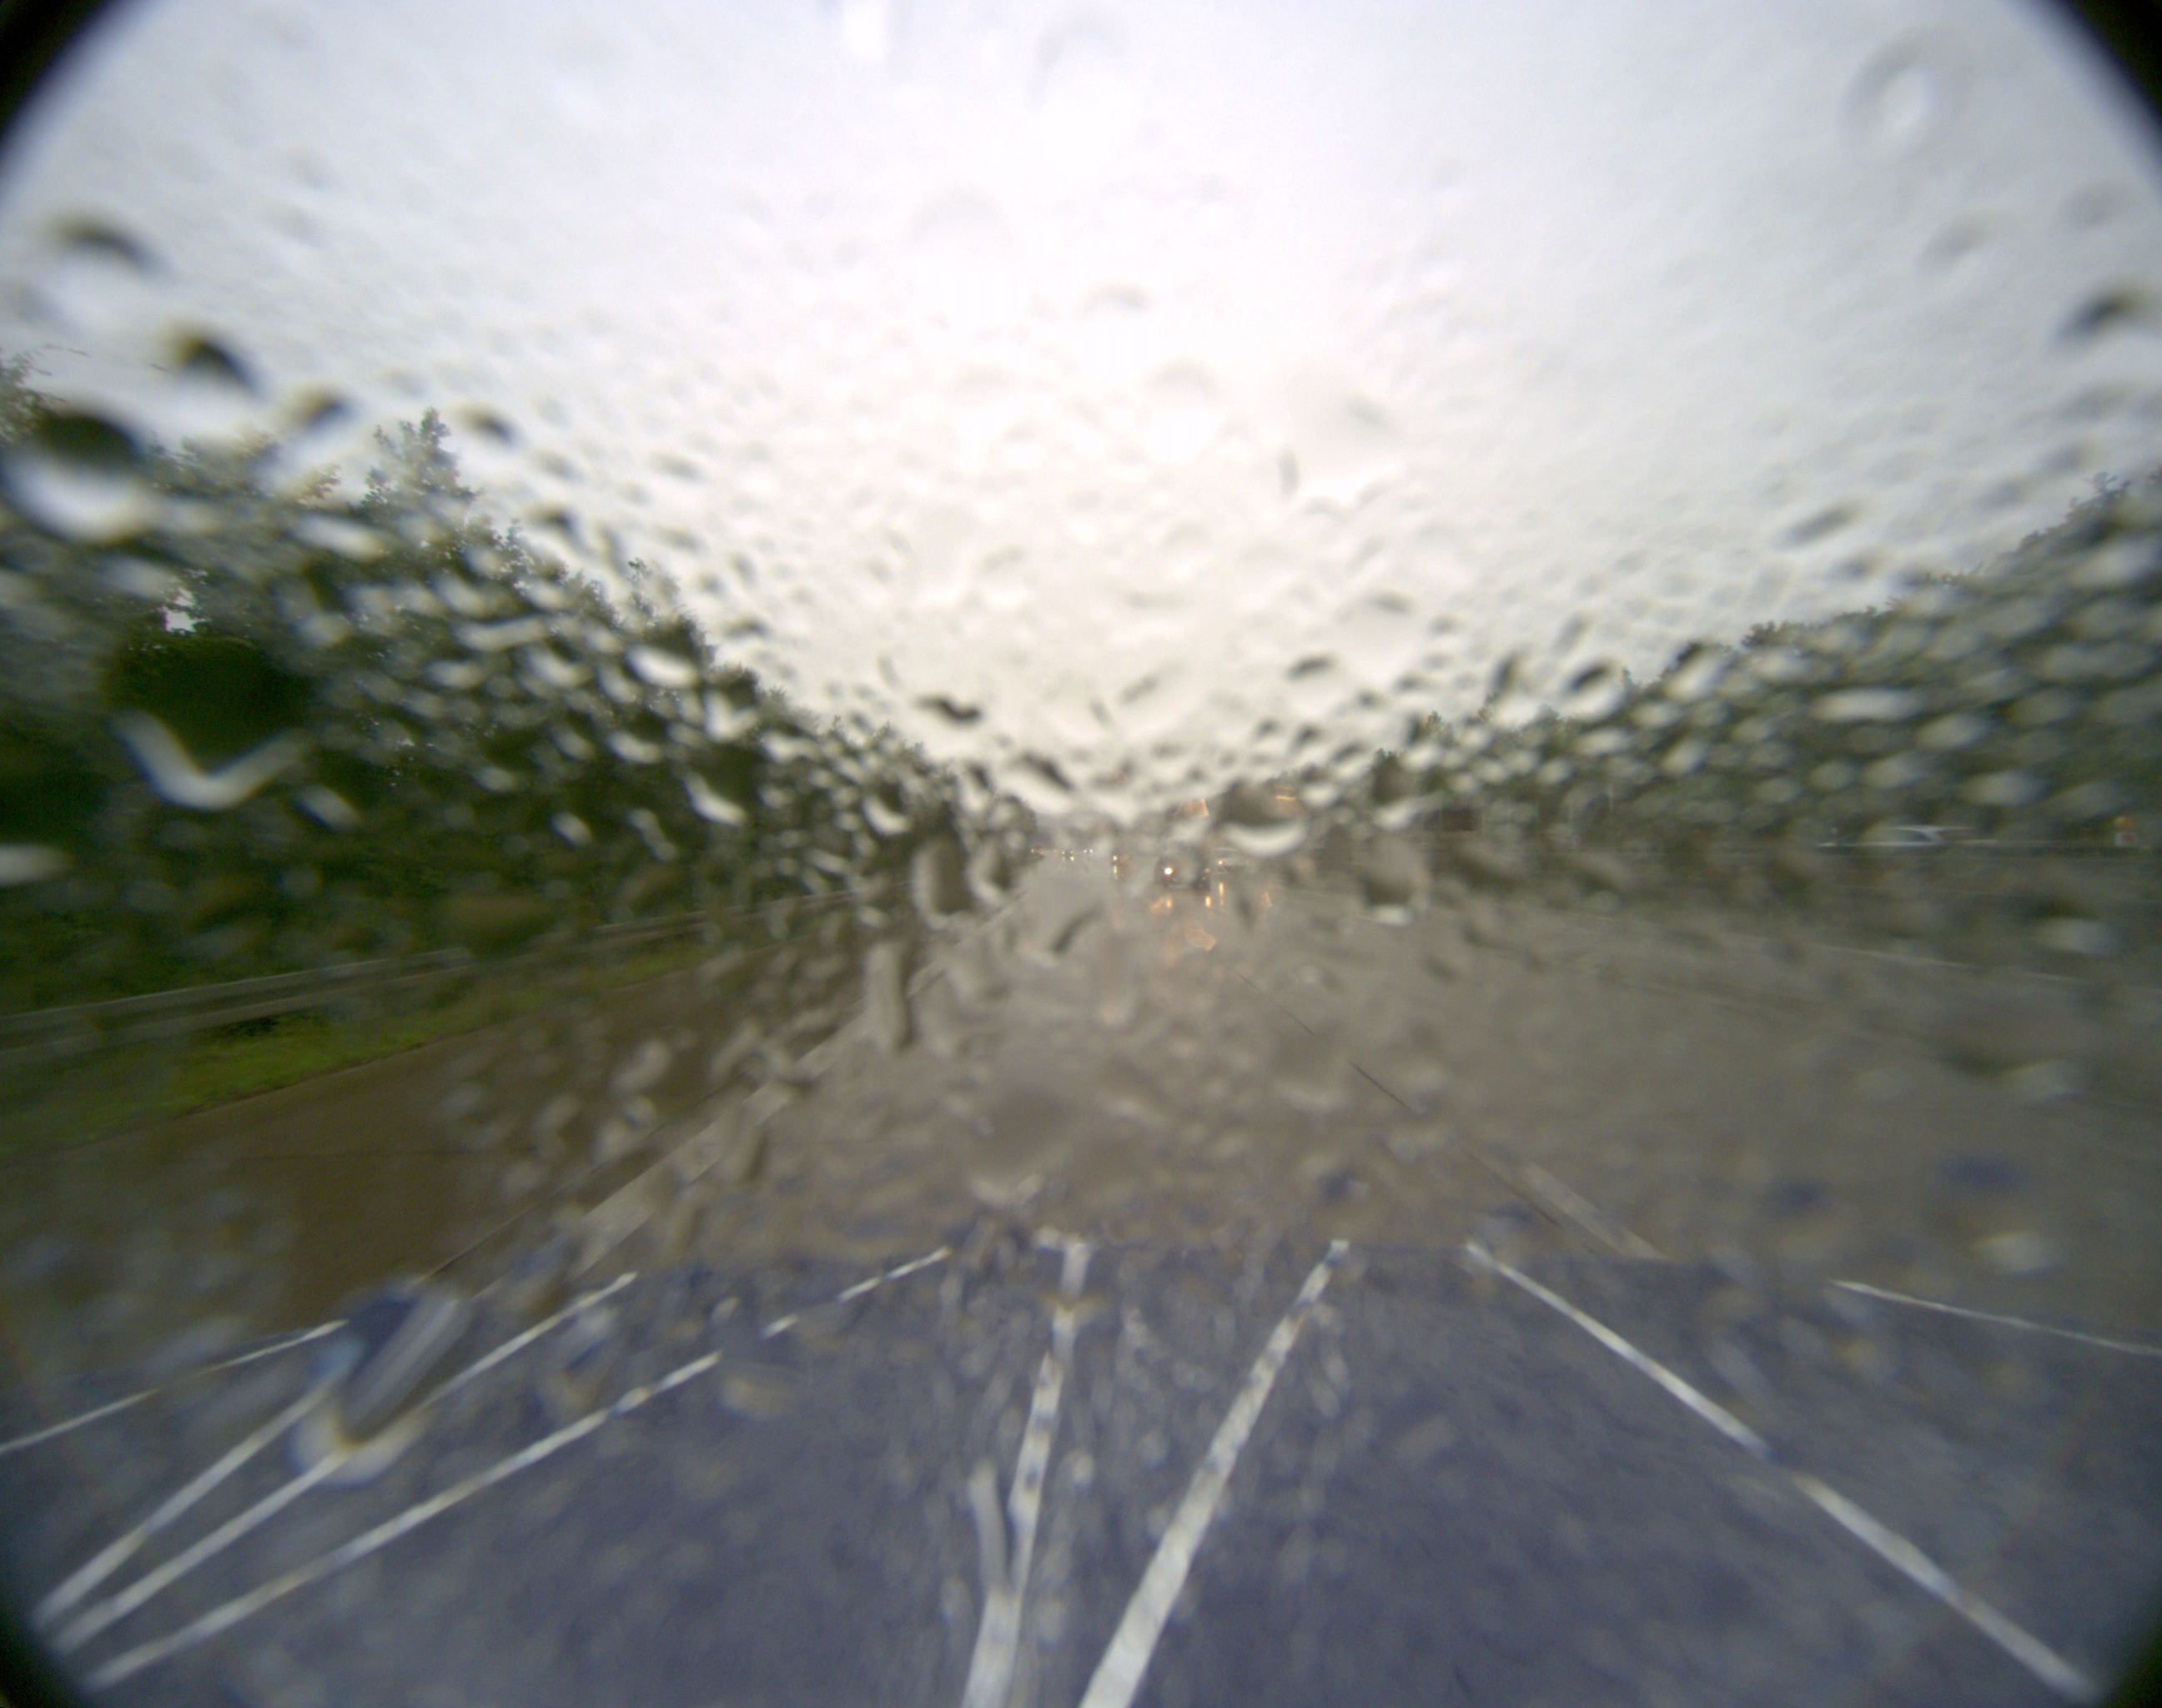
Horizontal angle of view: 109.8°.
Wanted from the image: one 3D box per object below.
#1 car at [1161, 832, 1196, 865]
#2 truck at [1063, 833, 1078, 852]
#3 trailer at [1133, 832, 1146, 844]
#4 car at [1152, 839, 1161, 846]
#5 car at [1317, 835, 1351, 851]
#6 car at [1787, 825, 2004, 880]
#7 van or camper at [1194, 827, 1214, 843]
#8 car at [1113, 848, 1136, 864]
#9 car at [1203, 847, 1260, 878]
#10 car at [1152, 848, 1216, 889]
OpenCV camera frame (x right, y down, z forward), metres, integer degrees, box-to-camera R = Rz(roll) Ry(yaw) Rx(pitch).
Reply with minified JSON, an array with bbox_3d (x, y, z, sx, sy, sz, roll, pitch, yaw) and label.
[{"bbox_3d":[8.347,-0.511,65.397,2.046,2.616,6.402,-2,1,-1],"label":"car"},{"bbox_3d":[-2.426,-2.555,173.544,3.058,3.995,10.043,-2,-1,1],"label":"truck"},{"bbox_3d":[18.972,-5.170,248.101,2.774,3.779,13.775,-5,1,0],"label":"trailer"},{"bbox_3d":[18.894,-2.808,189.257,1.820,1.587,3.999,-5,1,2],"label":"car"},{"bbox_3d":[24.476,-1.086,73.625,1.671,1.426,4.517,-2,1,0],"label":"car"},{"bbox_3d":[24.249,-0.077,22.919,1.671,1.426,4.517,-2,1,0],"label":"car"},{"bbox_3d":[23.082,-3.543,143.119,2.562,2.702,7.497,-3,1,0],"label":"van or camper"},{"bbox_3d":[4.203,0.183,73.298,1.934,1.426,4.517,-2,1,0],"label":"car"},{"bbox_3d":[7.568,0.374,38.737,1.934,1.426,4.516,-2,1,-1],"label":"car"},{"bbox_3d":[4.009,0.524,30.210,1.934,1.426,4.517,-2,1,0],"label":"car"}]
